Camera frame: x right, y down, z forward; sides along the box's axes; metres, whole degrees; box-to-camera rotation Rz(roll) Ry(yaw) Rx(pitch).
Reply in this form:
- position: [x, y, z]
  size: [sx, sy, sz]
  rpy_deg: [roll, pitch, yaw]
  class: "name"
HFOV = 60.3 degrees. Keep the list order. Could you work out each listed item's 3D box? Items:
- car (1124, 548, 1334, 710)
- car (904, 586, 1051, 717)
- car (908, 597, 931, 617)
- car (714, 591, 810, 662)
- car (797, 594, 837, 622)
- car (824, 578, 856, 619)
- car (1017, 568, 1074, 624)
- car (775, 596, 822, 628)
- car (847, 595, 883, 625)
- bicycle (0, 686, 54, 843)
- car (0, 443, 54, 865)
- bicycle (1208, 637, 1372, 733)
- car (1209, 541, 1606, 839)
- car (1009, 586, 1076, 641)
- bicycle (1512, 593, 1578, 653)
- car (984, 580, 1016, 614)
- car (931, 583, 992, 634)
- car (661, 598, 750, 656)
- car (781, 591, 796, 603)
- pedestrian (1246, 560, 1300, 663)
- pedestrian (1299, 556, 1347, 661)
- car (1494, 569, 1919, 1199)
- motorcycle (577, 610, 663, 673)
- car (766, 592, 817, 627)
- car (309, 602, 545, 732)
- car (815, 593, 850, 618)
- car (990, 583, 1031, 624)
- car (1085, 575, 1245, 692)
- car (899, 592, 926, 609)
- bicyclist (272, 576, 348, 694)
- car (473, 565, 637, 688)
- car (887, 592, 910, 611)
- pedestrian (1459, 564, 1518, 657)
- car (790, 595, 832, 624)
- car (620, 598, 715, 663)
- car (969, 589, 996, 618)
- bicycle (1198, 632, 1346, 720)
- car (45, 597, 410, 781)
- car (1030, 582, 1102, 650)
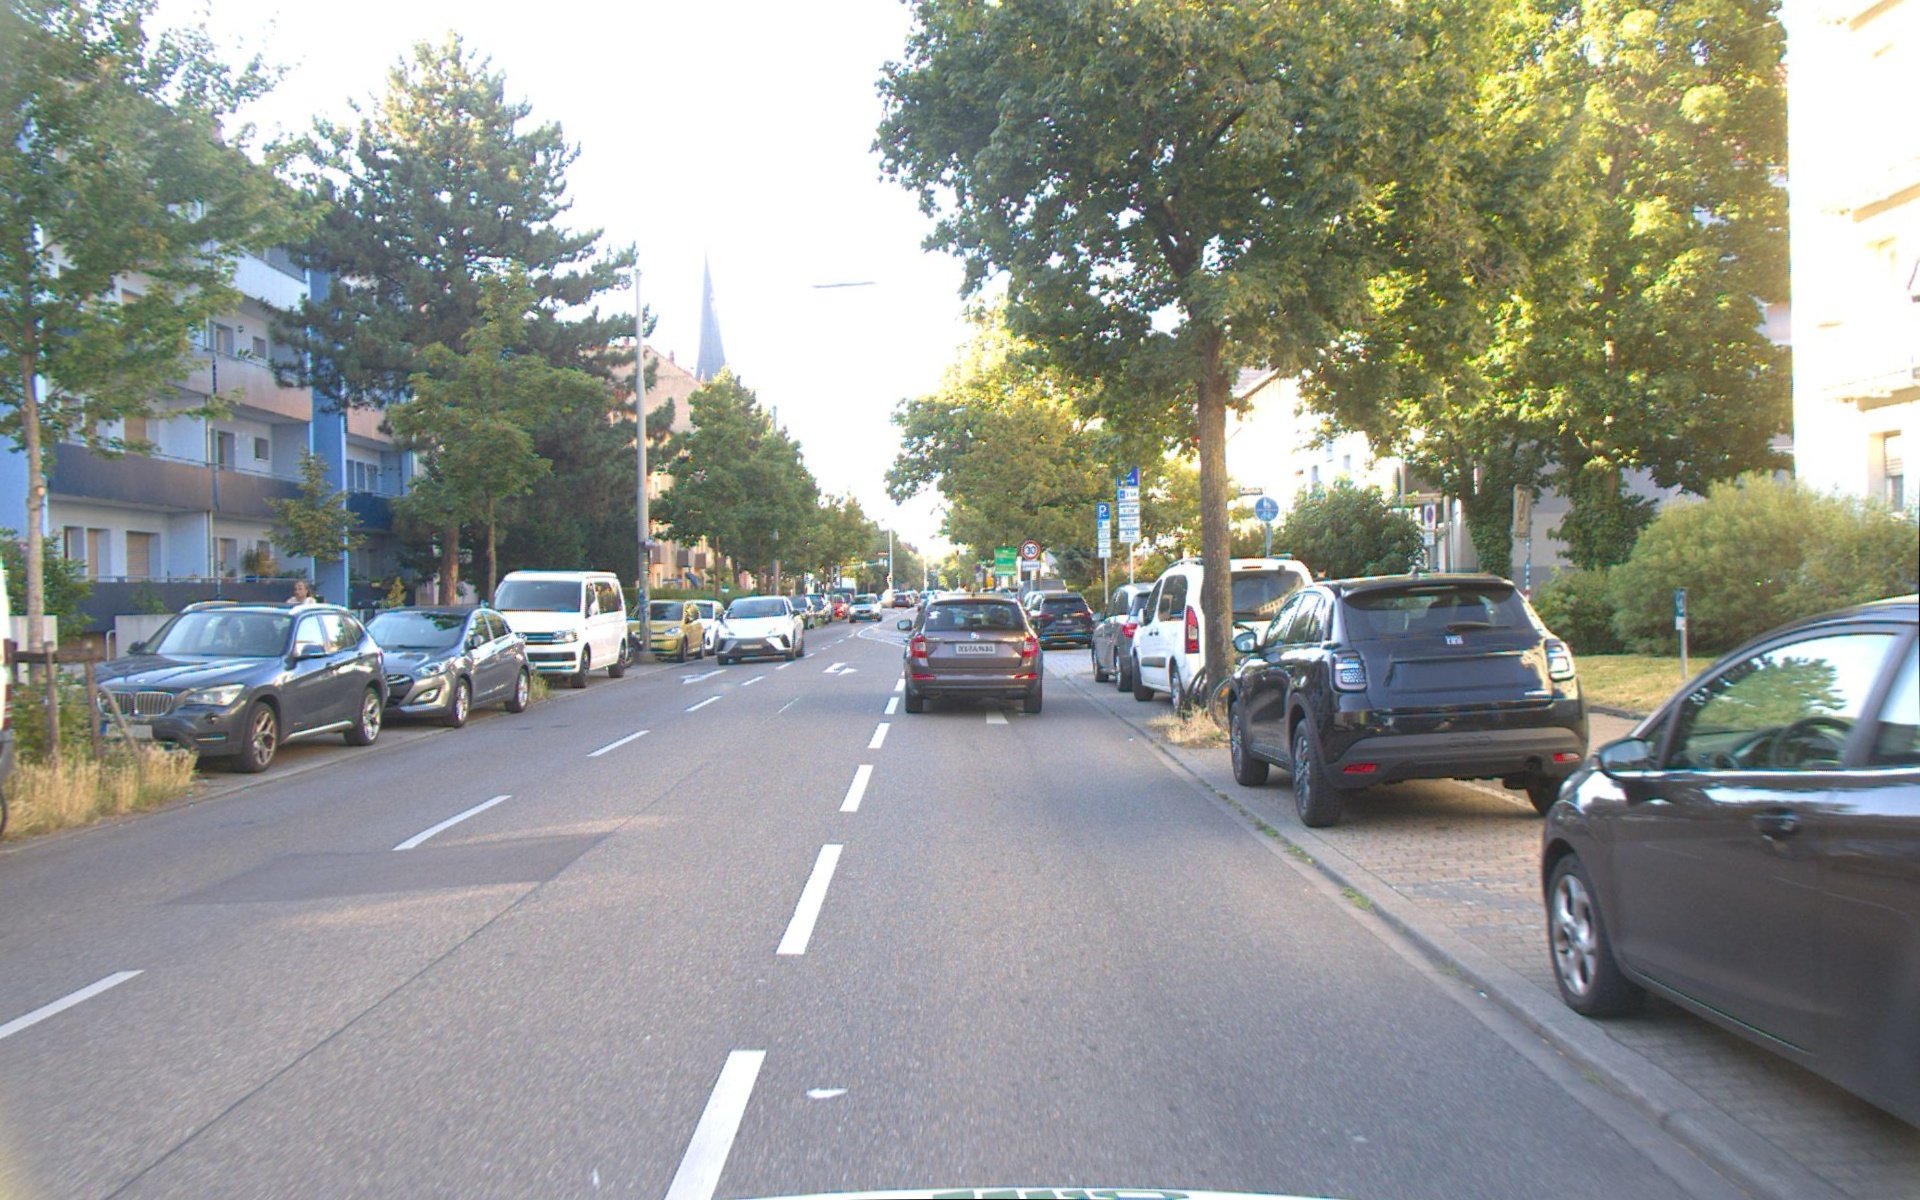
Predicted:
- position: [3.297, 0.319, 21.074]
  size: [1.764, 1.840, 4.422]
  rpy_deg: [0, 0, -3]
  class: "car"
- position: [0.243, 0.593, 21.323]
  size: [1.718, 1.518, 4.001]
  rpy_deg: [0, 0, 1]
  class: "car"
- position: [-3.250, 0.537, 132.650]
  size: [1.745, 1.506, 3.968]
  rpy_deg: [0, 0, -4]
  class: "car"
- position: [-4.620, 0.588, 39.067]
  size: [1.744, 1.520, 3.971]
  rpy_deg: [-2, 0, 0]
  class: "car"
- position: [-7.963, 0.410, 92.310]
  size: [1.744, 1.506, 3.972]
  rpy_deg: [0, 0, 2]
  class: "car"
- position: [-8.346, -0.112, 115.342]
  size: [1.951, 2.829, 5.502]
  rpy_deg: [0, 0, -1]
  class: "car"
- position: [3.057, -0.146, 60.314]
  size: [1.877, 1.893, 5.634]
  rpy_deg: [-1, 0, 1]
  class: "car"
- position: [-7.806, 0.568, 80.174]
  size: [1.744, 1.506, 3.972]
  rpy_deg: [0, 0, 2]
  class: "car"
- position: [-5.249, 0.519, 91.859]
  size: [1.704, 1.505, 4.308]
  rpy_deg: [-4, 0, -1]
  class: "car"
- position: [-7.106, 1.122, 11.478]
  size: [1.441, 1.032, 0.440]
  rpy_deg: [0, 0, 7]
  class: "bicycle"
- position: [-7.013, 0.357, 7.513]
  size: [1.953, 2.662, 7.104]
  rpy_deg: [0, 0, -1]
  class: "car"
- position: [3.249, 0.830, 16.309]
  size: [1.521, 0.884, 0.393]
  rpy_deg: [-1, 0, -4]
  class: "bicycle"
- position: [2.962, 0.521, 11.886]
  size: [1.718, 1.691, 4.253]
  rpy_deg: [-2, 0, 1]
  class: "car"
- position: [2.455, 0.391, 50.065]
  size: [1.719, 1.584, 4.103]
  rpy_deg: [0, 0, -2]
  class: "car"
- position: [9.749, 0.370, 27.613]
  size: [0.465, 0.961, 1.680]
  rpy_deg: [-2, 0, -1]
  class: "bicycle"
- position: [2.220, -0.175, 91.596]
  size: [1.718, 1.837, 4.001]
  rpy_deg: [0, 0, 1]
  class: "car"
- position: [0.021, 0.297, 53.952]
  size: [1.853, 1.533, 3.788]
  rpy_deg: [2, -1, -1]
  class: "car"
- position: [-7.016, 0.710, 45.942]
  size: [1.744, 1.520, 3.972]
  rpy_deg: [0, 0, 2]
  class: "car"
- position: [-25.203, -0.460, 242.683]
  size: [1.956, 1.780, 3.993]
  rpy_deg: [-1, 0, -8]
  class: "car"
- position: [5.872, 0.208, 31.105]
  size: [0.733, 1.893, 1.068]
  rpy_deg: [-2, 0, -1]
  class: "pedestrian"
- position: [6.740, 0.158, 30.723]
  size: [0.781, 1.893, 0.951]
  rpy_deg: [-2, 0, 10]
  class: "pedestrian"
- position: [2.975, 0.667, 4.631]
  size: [1.580, 1.491, 3.958]
  rpy_deg: [-2, 0, -1]
  class: "car"
- position: [-7.302, 0.869, 35.606]
  size: [0.645, 1.225, 2.333]
  rpy_deg: [-2, 1, 20]
  class: "motorcycle"
- position: [-7.509, 0.403, 74.099]
  size: [1.744, 1.506, 4.034]
  rpy_deg: [0, 0, 2]
  class: "car"
- position: [-6.930, 0.806, 21.944]
  size: [1.657, 1.509, 4.144]
  rpy_deg: [-1, 0, 2]
  class: "car"
- position: [-7.890, 0.355, 102.782]
  size: [1.744, 1.506, 3.972]
  rpy_deg: [0, 0, 2]
  class: "car"
- position: [2.201, 0.140, 72.679]
  size: [1.718, 1.745, 4.001]
  rpy_deg: [0, 0, 1]
  class: "car"
- position: [3.096, 0.468, 25.829]
  size: [1.719, 1.584, 4.250]
  rpy_deg: [-3, 0, -3]
  class: "car"
- position: [-5.318, 0.076, 186.345]
  size: [1.963, 1.780, 3.979]
  rpy_deg: [-1, 0, -18]
  class: "car"
- position: [-9.220, 0.481, 23.484]
  size: [0.590, 1.621, 0.940]
  rpy_deg: [-2, 0, 7]
  class: "bicyclist"
- position: [-7.378, 0.436, 30.661]
  size: [1.831, 2.067, 5.299]
  rpy_deg: [0, 0, -1]
  class: "car"
- position: [-6.054, 0.181, 162.158]
  size: [1.955, 1.780, 3.995]
  rpy_deg: [-1, 0, -6]
  class: "car"
- position: [10.252, 0.205, 32.110]
  size: [0.738, 1.751, 0.789]
  rpy_deg: [-2, 0, -42]
  class: "pedestrian"
- position: [-7.766, 0.482, 86.614]
  size: [1.744, 1.506, 3.972]
  rpy_deg: [0, 0, 2]
  class: "car"
- position: [-7.231, 0.726, 41.198]
  size: [1.585, 1.506, 3.872]
  rpy_deg: [0, 0, 2]
  class: "car"
- position: [1.466, 0.229, 108.681]
  size: [1.718, 1.837, 4.000]
  rpy_deg: [0, 0, 0]
  class: "car"
- position: [3.374, 0.818, 17.906]
  size: [1.524, 0.884, 0.392]
  rpy_deg: [-1, 0, -10]
  class: "bicycle"
- position: [-7.228, 0.786, 16.873]
  size: [1.637, 1.570, 4.474]
  rpy_deg: [-1, 0, 1]
  class: "car"
- position: [2.765, 0.392, 43.824]
  size: [1.718, 1.716, 4.253]
  rpy_deg: [0, 0, 1]
  class: "car"
